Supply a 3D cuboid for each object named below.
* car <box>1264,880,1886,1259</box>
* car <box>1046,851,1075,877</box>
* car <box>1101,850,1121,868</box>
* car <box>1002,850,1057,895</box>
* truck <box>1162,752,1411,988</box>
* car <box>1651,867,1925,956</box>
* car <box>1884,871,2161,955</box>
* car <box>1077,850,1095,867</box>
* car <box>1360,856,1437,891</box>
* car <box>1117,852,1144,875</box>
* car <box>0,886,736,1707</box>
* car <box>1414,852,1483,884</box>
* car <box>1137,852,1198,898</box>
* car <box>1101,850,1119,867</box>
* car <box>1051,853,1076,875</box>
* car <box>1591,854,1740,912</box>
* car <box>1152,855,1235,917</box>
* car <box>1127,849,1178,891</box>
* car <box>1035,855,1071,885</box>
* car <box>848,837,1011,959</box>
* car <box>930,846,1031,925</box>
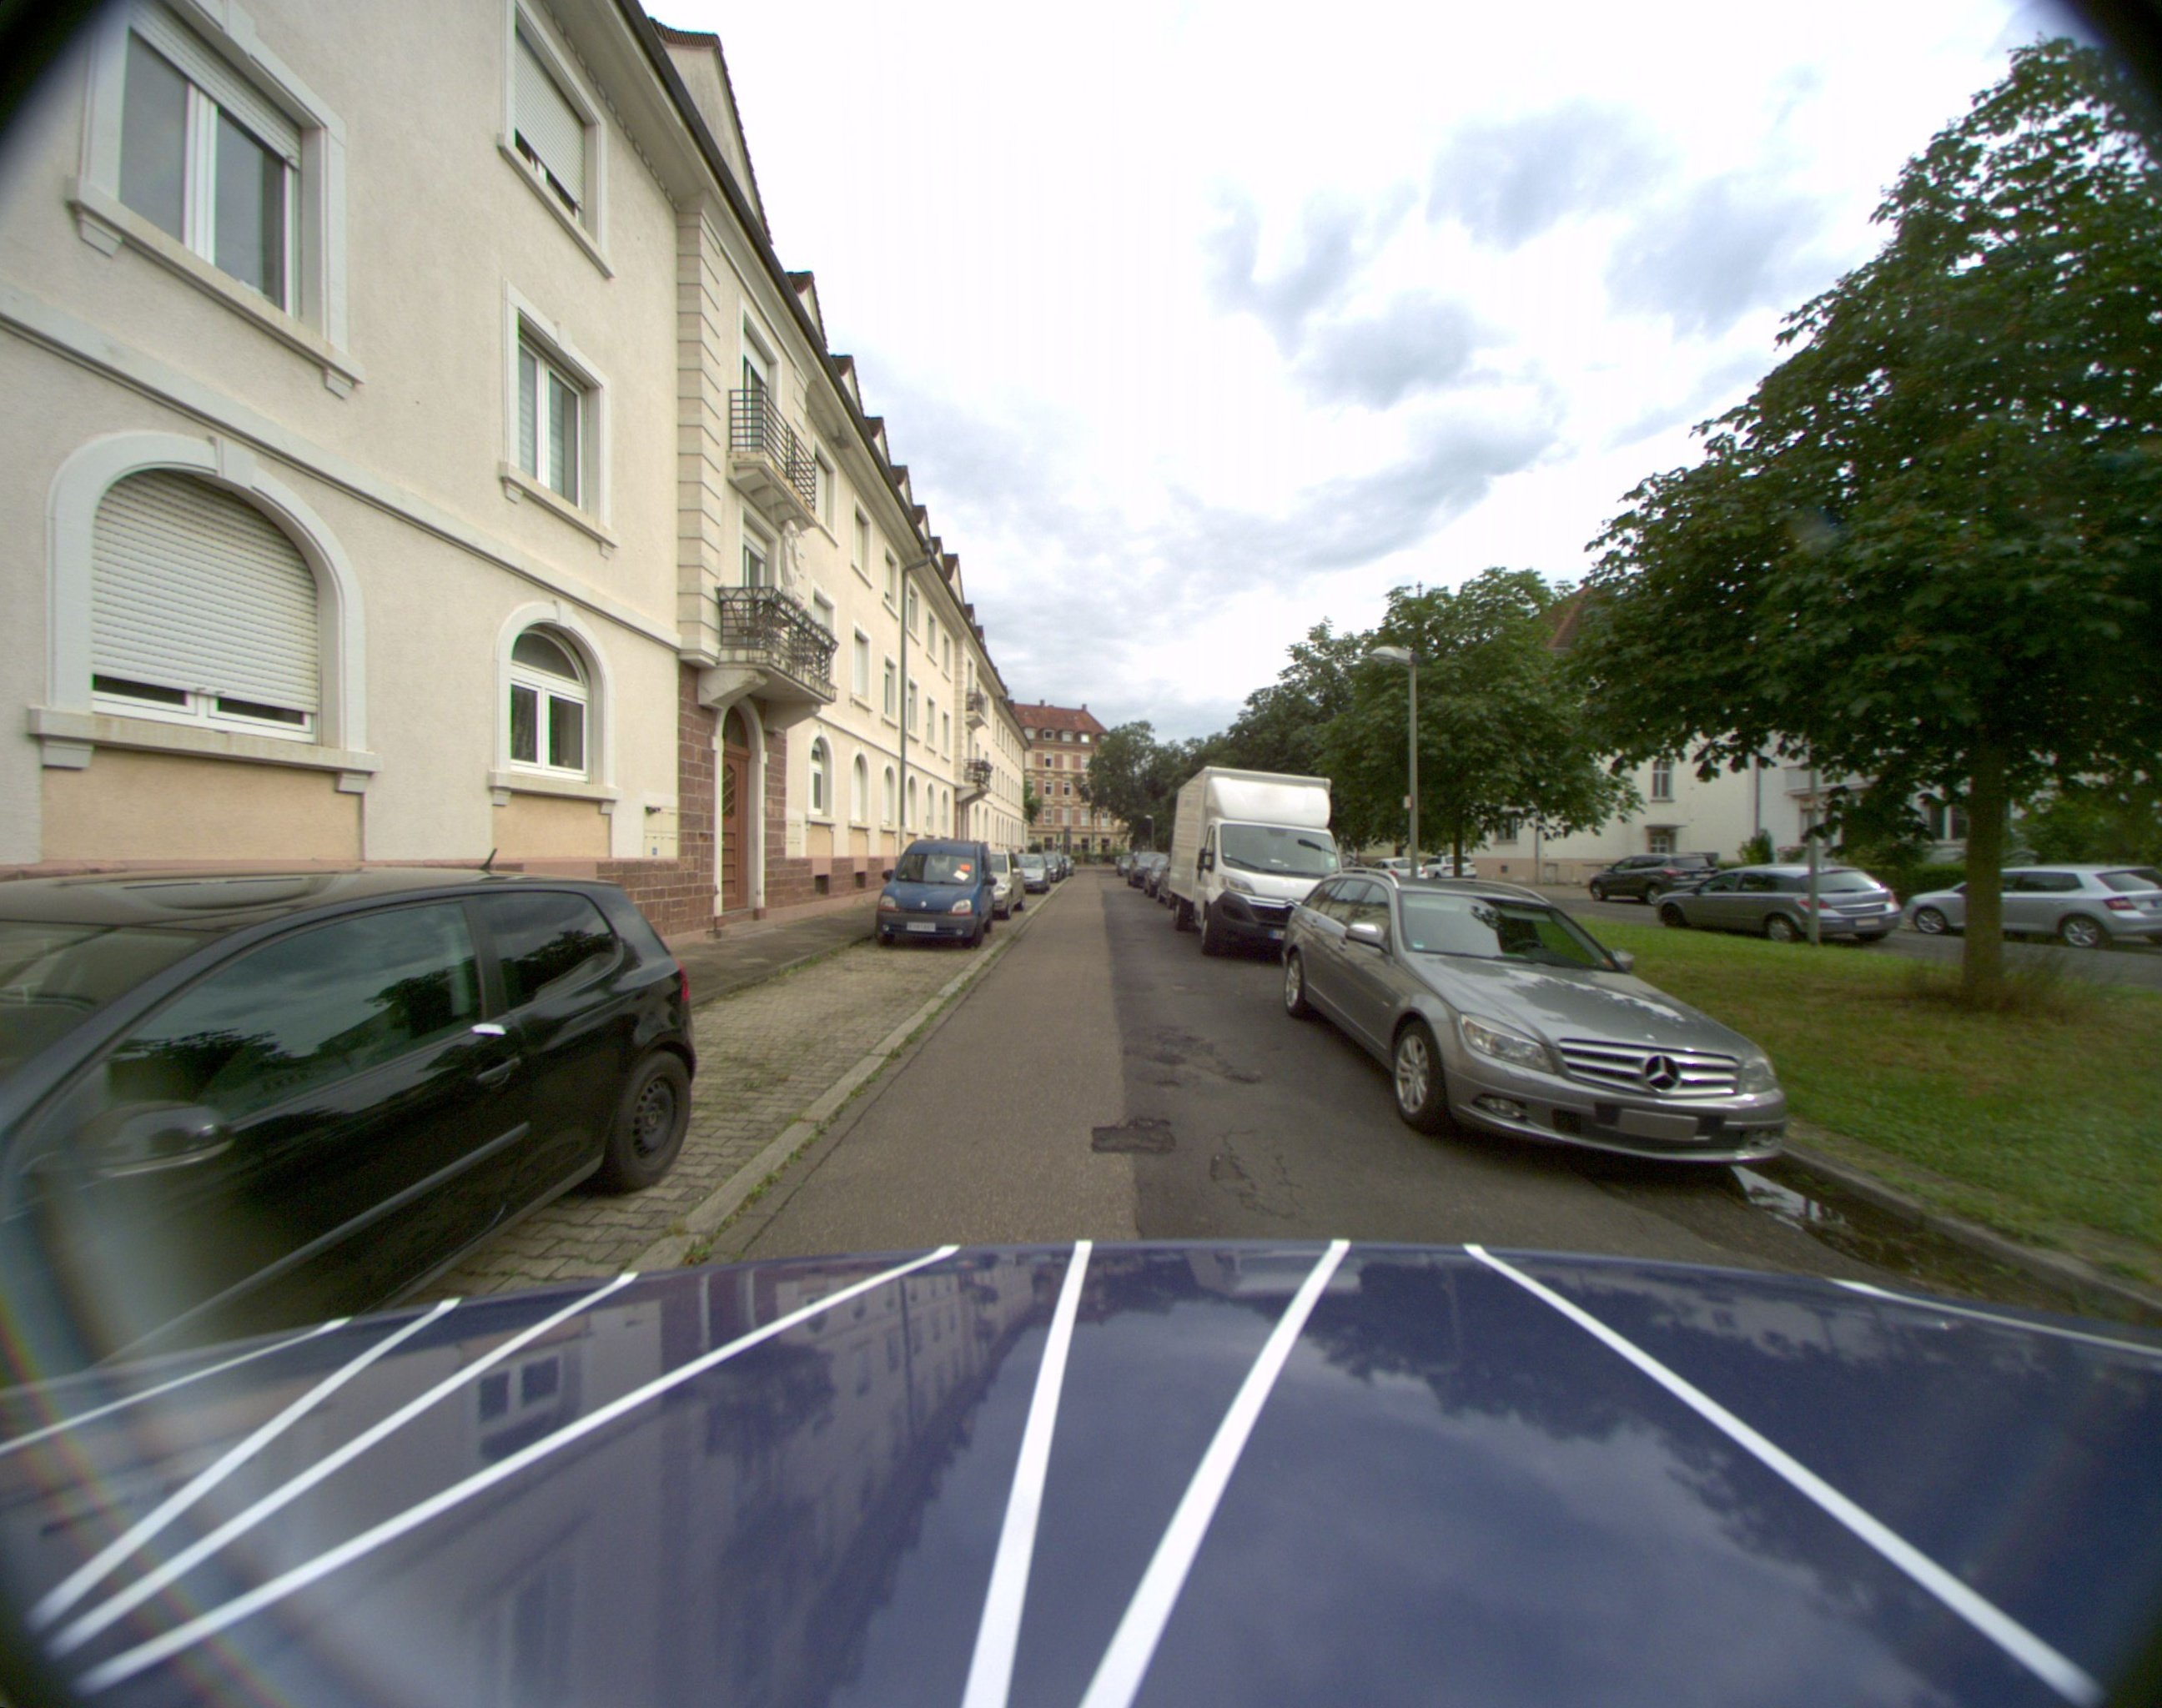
[{"bbox_3d":[2.773,1.055,5.677,1.715,1.449,4.448,5,0,1],"label":"car"},{"bbox_3d":[-1.258,0.591,47.815,1.609,1.575,4.010,0,0,1],"label":"car"},{"bbox_3d":[2.918,0.464,74.527,1.643,1.570,4.209,4,0,-1],"label":"car"},{"bbox_3d":[-1.935,0.690,29.480,1.686,1.505,3.955,4,0,1],"label":"car"},{"bbox_3d":[3.136,0.245,13.759,2.444,2.939,7.113,6,0,1],"label":"truck"},{"bbox_3d":[13.747,1.032,15.160,1.804,1.479,4.007,0,0,1],"label":"car"},{"bbox_3d":[18.880,1.064,15.075,1.804,1.347,3.942,0,0,1],"label":"car"},{"bbox_3d":[0.496,0.488,78.750,1.643,1.570,4.209,4,0,-1],"label":"car"},{"bbox_3d":[13.982,0.825,33.726,1.804,1.479,4.007,0,0,1],"label":"car"},{"bbox_3d":[3.502,0.668,54.289,1.643,1.570,4.208,0,0,-1],"label":"car"},{"bbox_3d":[-2.850,0.926,1.964,1.692,1.445,4.545,3,0,1],"label":"car"},{"bbox_3d":[19.653,0.728,40.815,1.804,1.597,4.007,0,0,1],"label":"car"},{"bbox_3d":[3.067,0.706,27.600,1.643,1.505,4.151,1,0,-1],"label":"car"},{"bbox_3d":[3.079,0.475,80.954,1.643,1.570,4.209,4,0,-1],"label":"car"},{"bbox_3d":[-1.189,0.694,52.330,1.455,1.388,4.011,4,0,1],"label":"car"},{"bbox_3d":[19.225,0.894,25.253,1.804,1.664,4.101,-3,0,1],"label":"car"},{"bbox_3d":[3.154,0.856,22.096,1.643,1.505,4.151,4,0,-1],"label":"car"},{"bbox_3d":[3.201,0.703,34.891,1.785,1.697,4.315,4,0,-1],"label":"car"},{"bbox_3d":[-1.438,0.810,40.354,1.609,1.392,4.011,4,0,1],"label":"car"},{"bbox_3d":[-2.504,0.680,13.683,1.942,1.774,4.186,3,0,1],"label":"car"},{"bbox_3d":[-2.386,0.720,19.009,1.775,1.628,4.129,4,0,1],"label":"car"}]
